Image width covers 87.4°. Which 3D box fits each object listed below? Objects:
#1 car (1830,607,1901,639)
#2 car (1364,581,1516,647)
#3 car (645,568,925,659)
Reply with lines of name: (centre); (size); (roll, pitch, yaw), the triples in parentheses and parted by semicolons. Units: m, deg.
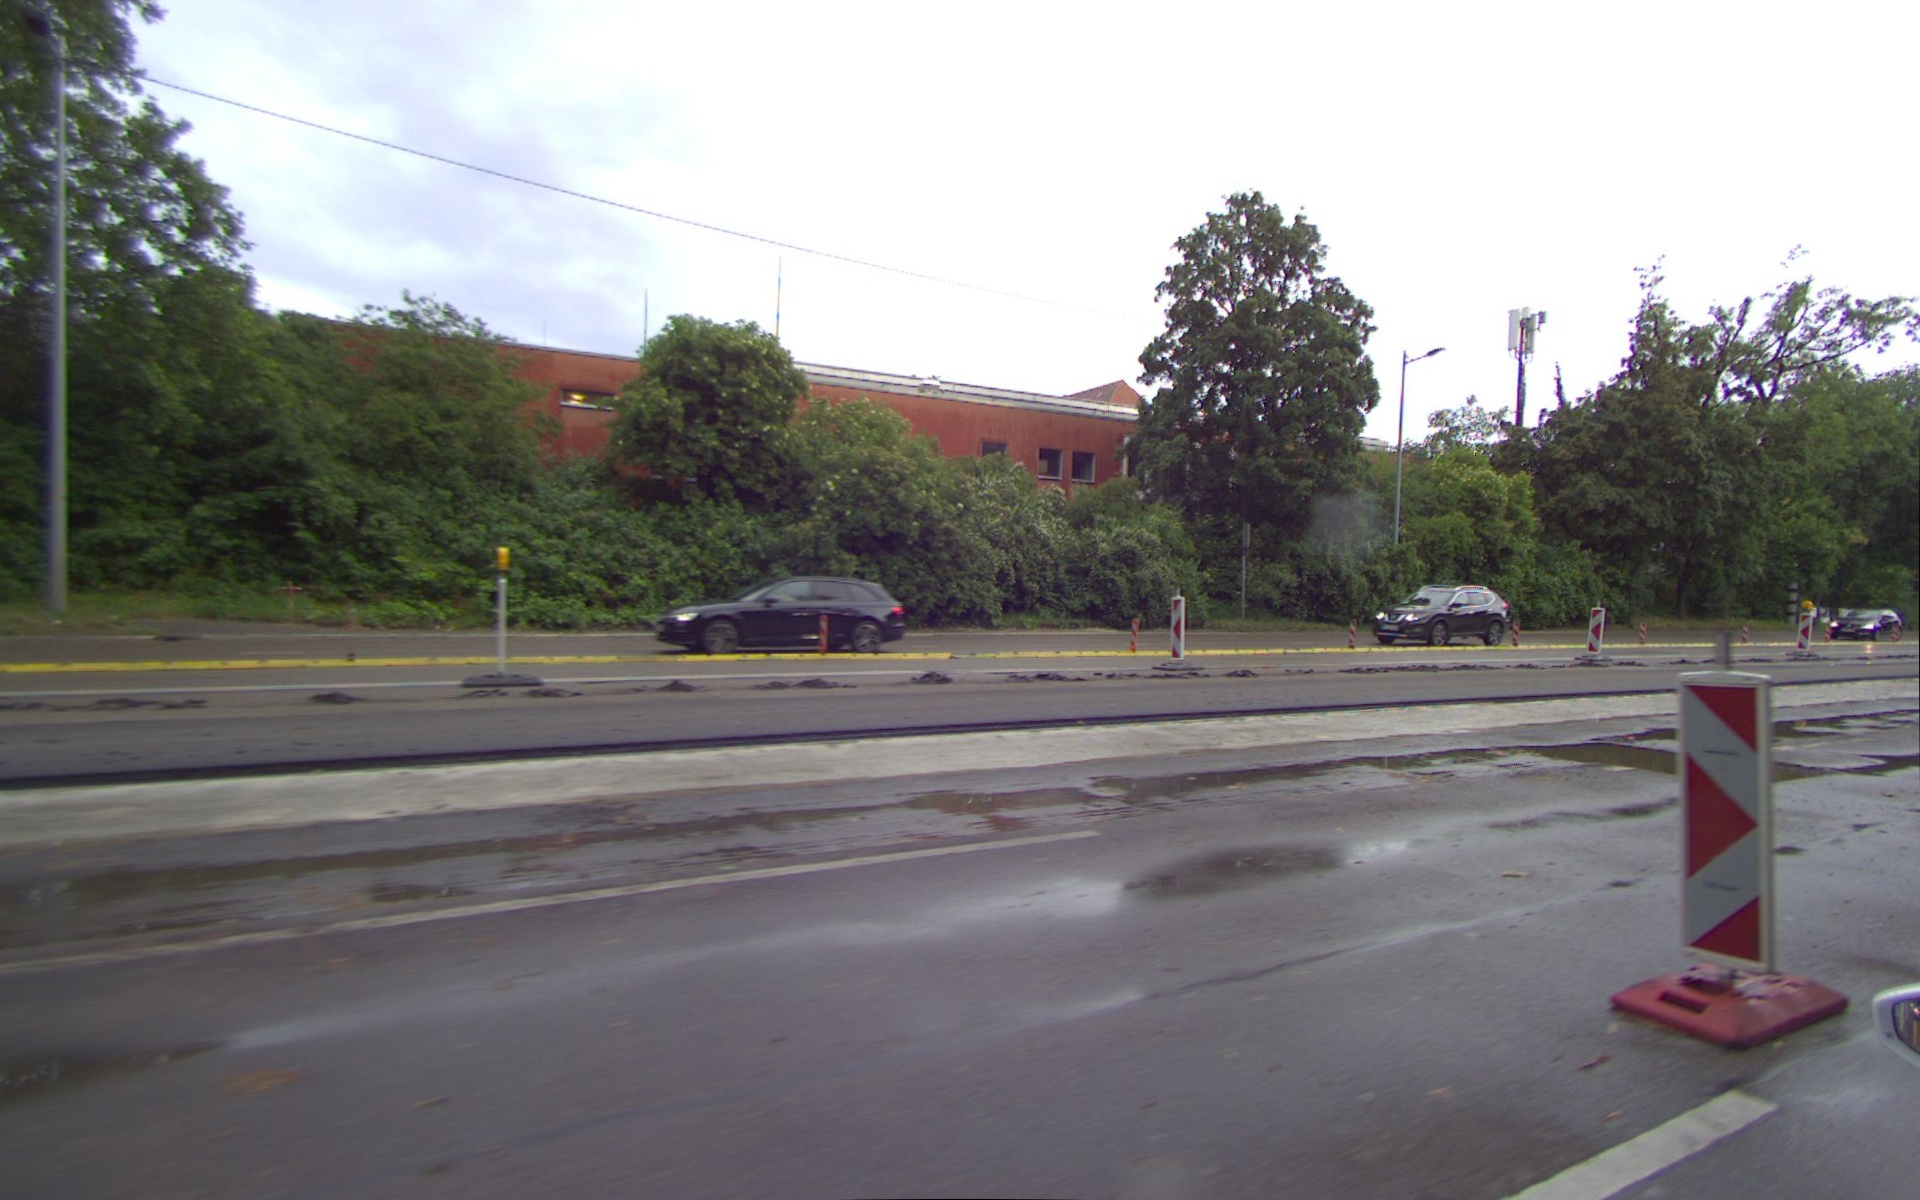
car: (40.991, 1.050, 45.454); (3.819, 1.350, 1.439); (1, 1, -33)
car: (13.804, 0.408, 28.826); (4.442, 1.745, 1.726); (1, 1, -31)
car: (-3.202, 0.249, 18.750); (4.844, 1.503, 1.751); (1, 1, -31)
